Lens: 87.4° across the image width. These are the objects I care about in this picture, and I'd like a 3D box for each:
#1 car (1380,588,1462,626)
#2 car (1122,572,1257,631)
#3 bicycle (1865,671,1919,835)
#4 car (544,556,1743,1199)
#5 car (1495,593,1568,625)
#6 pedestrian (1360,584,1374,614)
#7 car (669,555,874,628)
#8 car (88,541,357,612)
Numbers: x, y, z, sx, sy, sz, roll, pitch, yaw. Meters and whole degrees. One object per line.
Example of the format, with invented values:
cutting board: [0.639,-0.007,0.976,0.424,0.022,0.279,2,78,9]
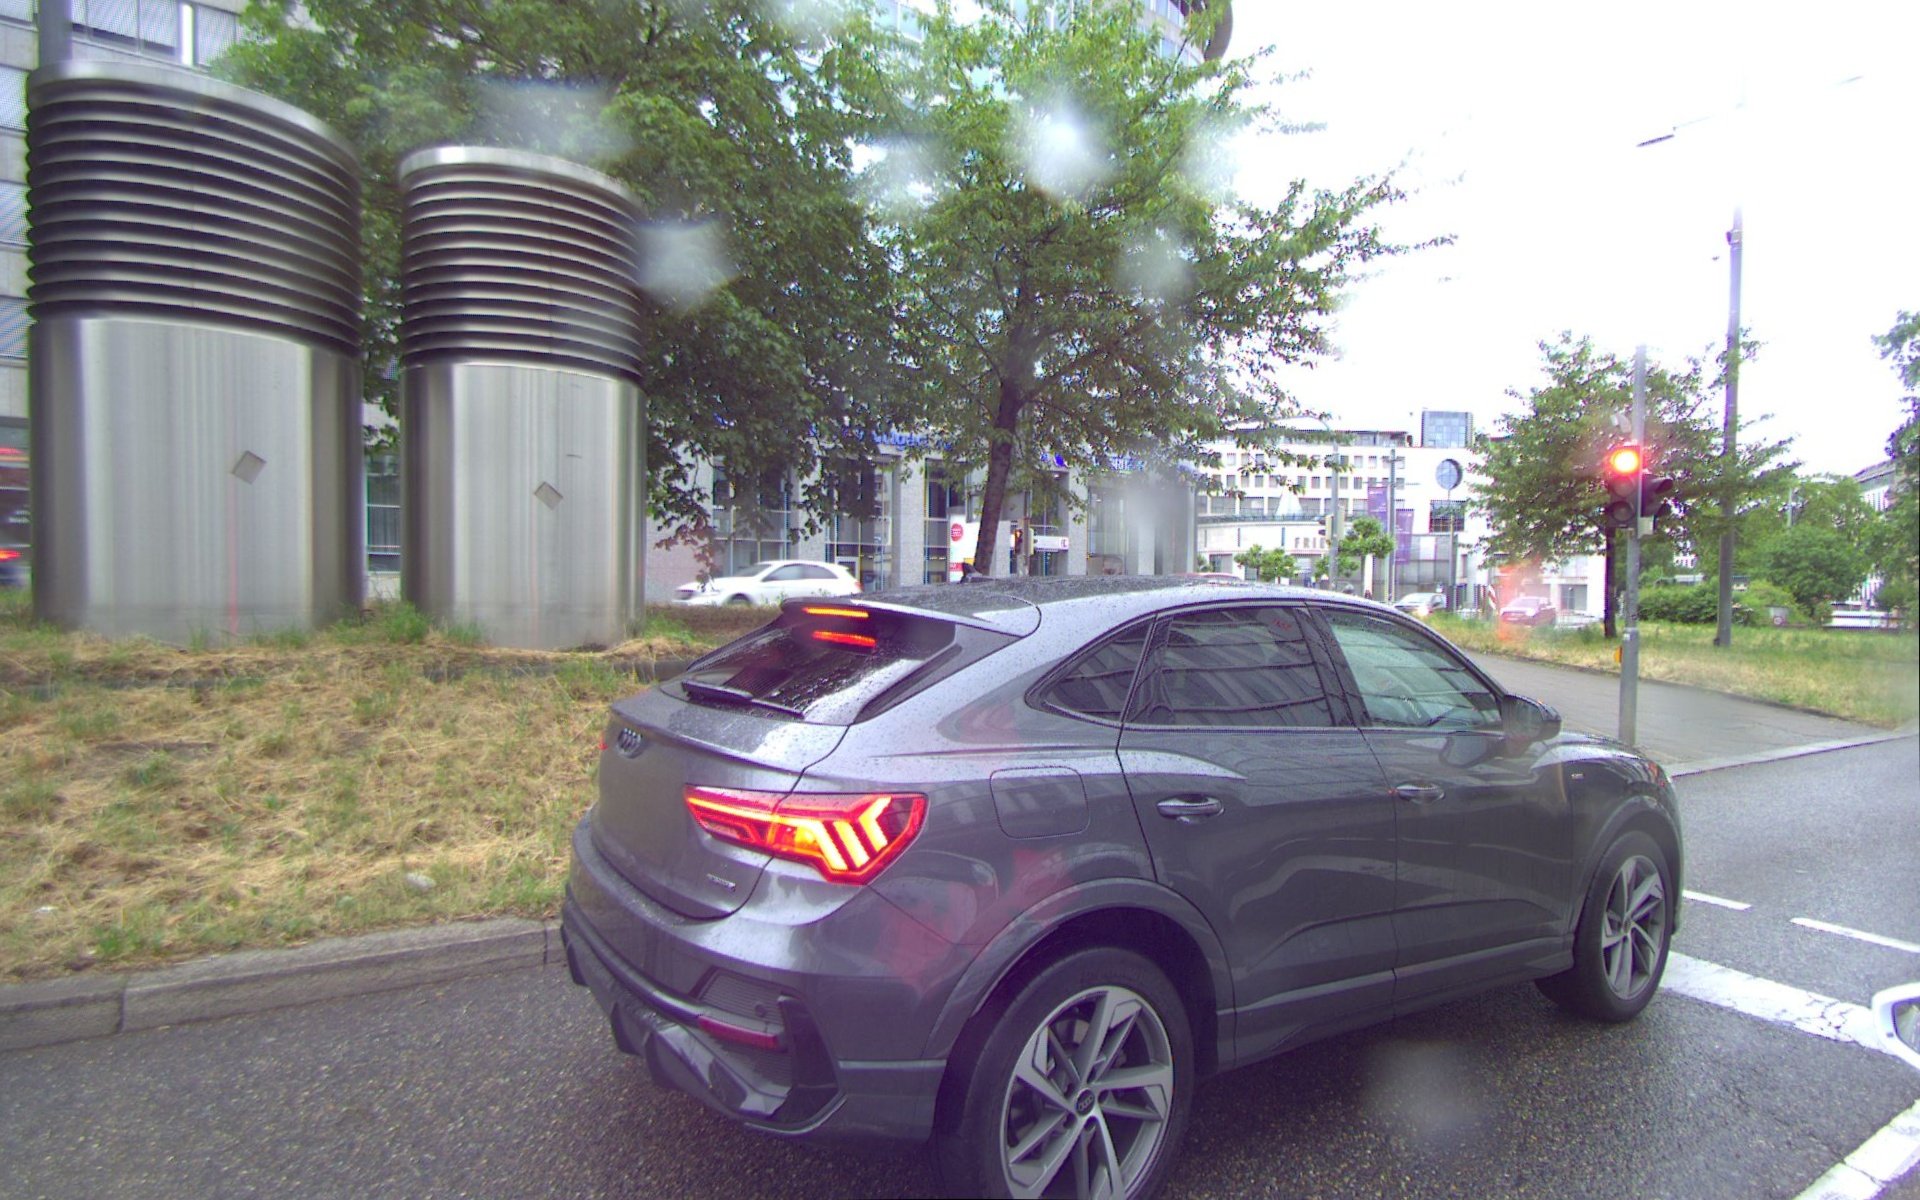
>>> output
car: [19.902,0.302,43.274,3.972,1.506,1.787,1,3,-43]
car: [7.322,0.054,31.830,4.543,1.750,1.710,1,1,-39]
bicycle: [7.302,1.110,6.462,0.992,1.128,2.066,3,0,-3]
car: [0.891,0.726,3.675,4.207,1.638,1.836,0,2,-34]
car: [29.636,0.485,52.043,4.347,1.506,1.789,1,2,-40]
pedestrian: [25.221,-0.058,62.229,0.613,1.786,0.721,-1,-2,43]
car: [-4.148,-0.171,22.417,4.157,1.495,1.805,1,1,-39]
car: [-15.519,-0.459,21.372,4.435,1.343,1.878,1,1,-37]
